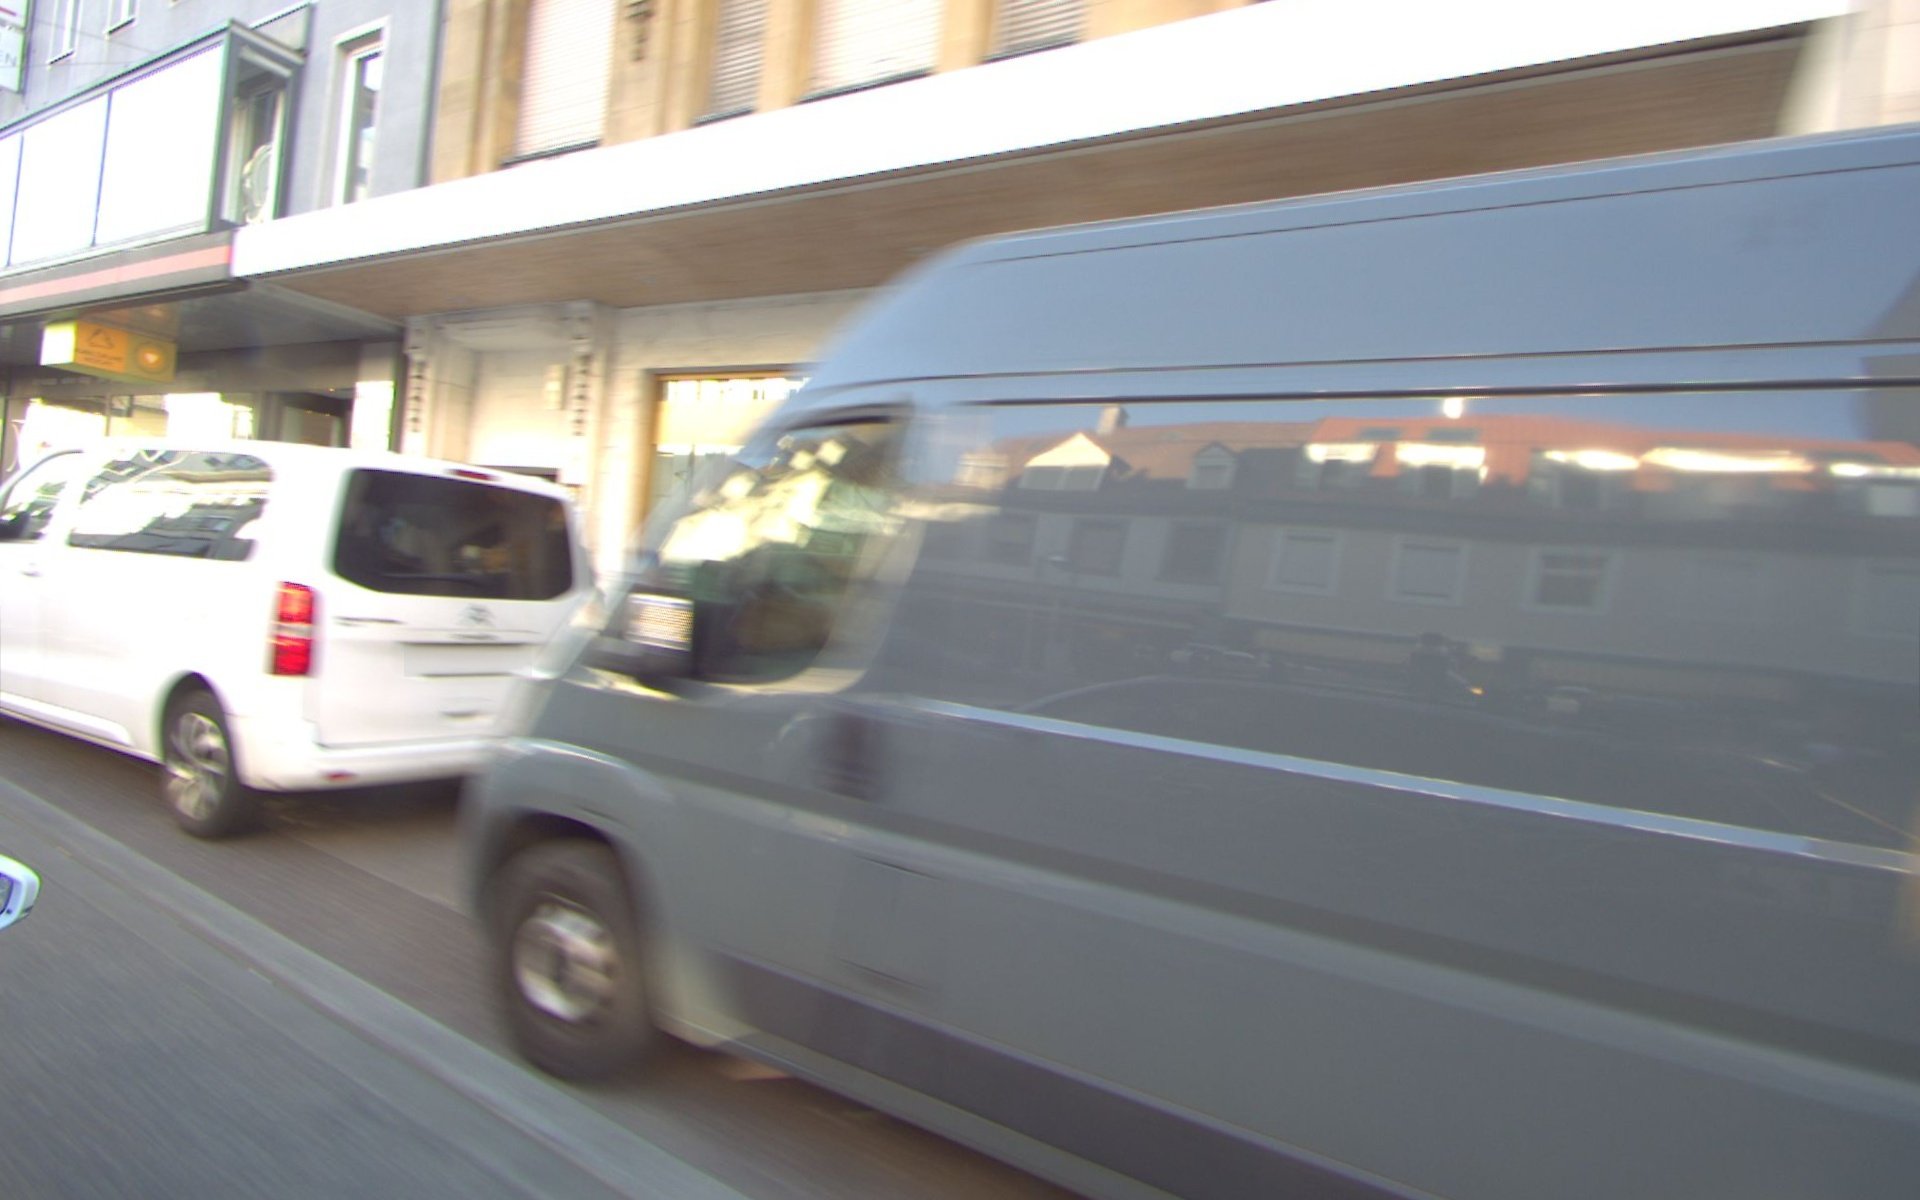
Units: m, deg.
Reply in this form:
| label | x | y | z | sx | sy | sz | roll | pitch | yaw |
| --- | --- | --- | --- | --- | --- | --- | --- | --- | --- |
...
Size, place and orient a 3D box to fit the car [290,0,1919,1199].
| label | x | y | z | sx | sy | sz | roll | pitch | yaw |
| --- | --- | --- | --- | --- | --- | --- | --- | --- | --- |
| car | 0.830 | 0.372 | 2.797 | 5.590 | 2.530 | 2.050 | 8 | 0 | 31 |

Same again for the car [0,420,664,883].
| label | x | y | z | sx | sy | sz | roll | pitch | yaw |
| --- | --- | --- | --- | --- | --- | --- | --- | --- | --- |
| car | -4.427 | 0.059 | 6.286 | 4.795 | 1.935 | 2.049 | 6 | 1 | 29 |

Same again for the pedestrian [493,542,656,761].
| label | x | y | z | sx | sy | sz | roll | pitch | yaw |
| --- | --- | --- | --- | --- | --- | --- | --- | --- | --- |
| pedestrian | -2.953 | 0.379 | 7.728 | 0.801 | 1.527 | 0.696 | 7 | 1 | 31 |
